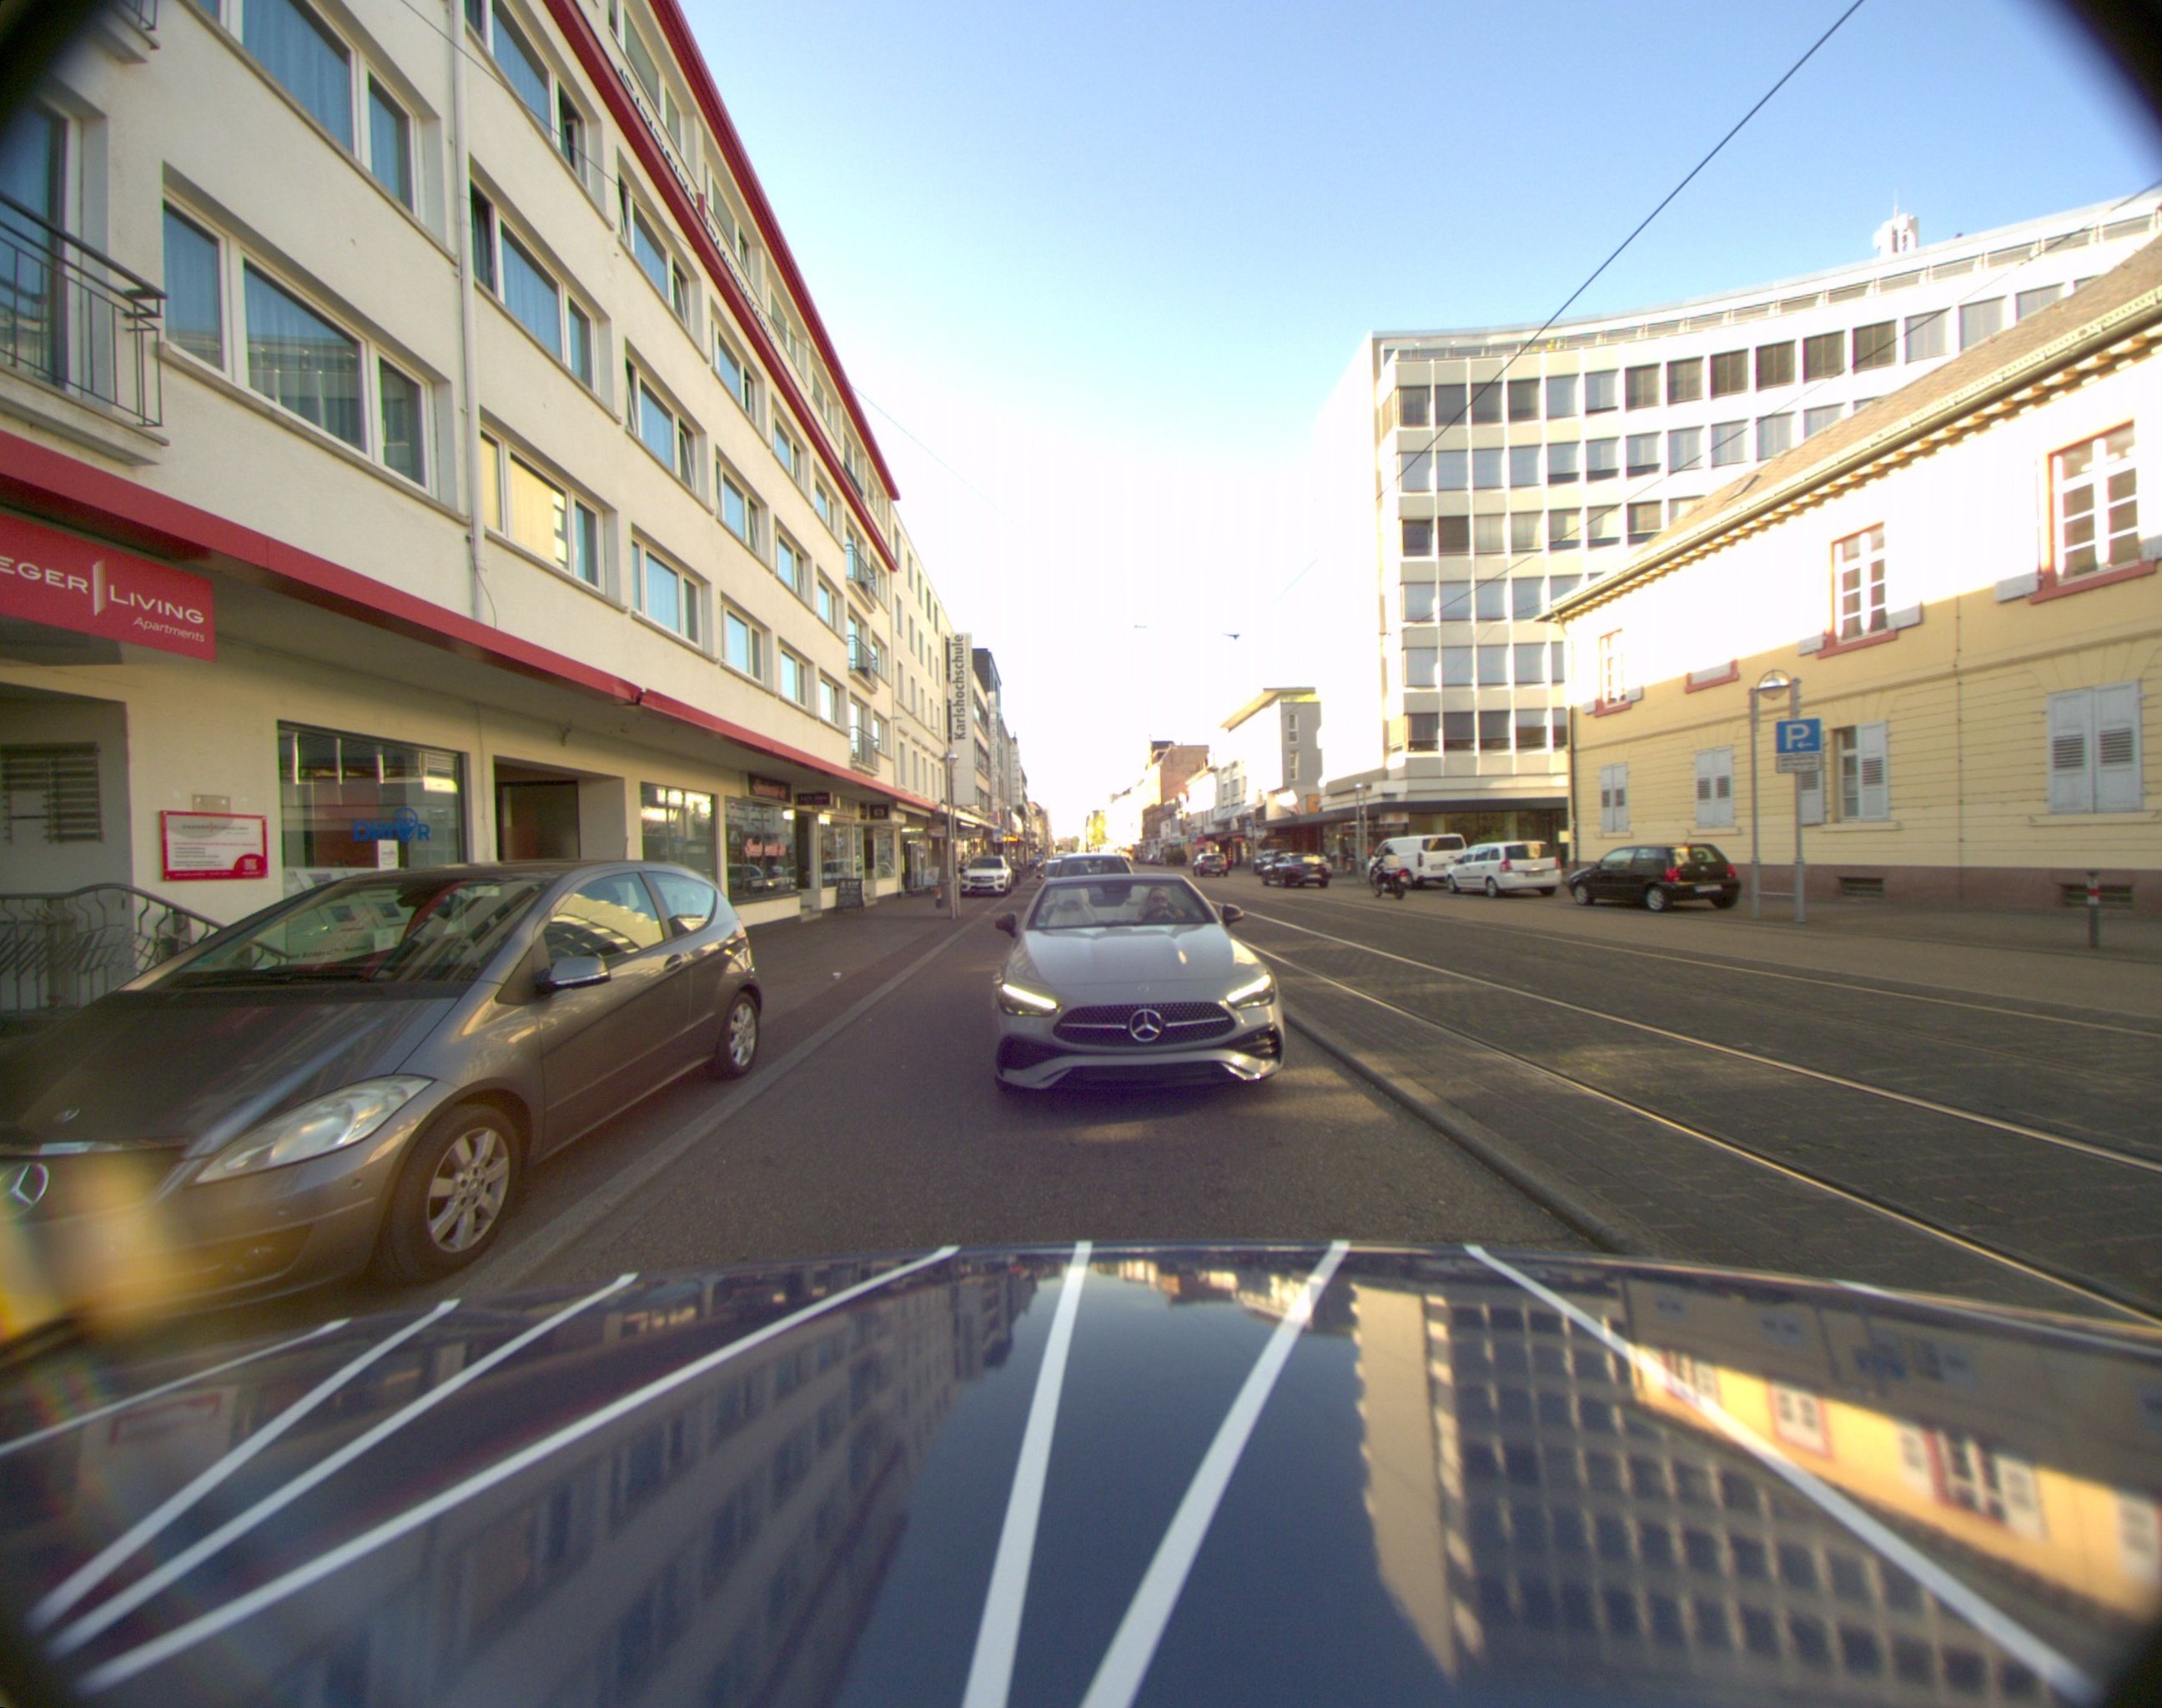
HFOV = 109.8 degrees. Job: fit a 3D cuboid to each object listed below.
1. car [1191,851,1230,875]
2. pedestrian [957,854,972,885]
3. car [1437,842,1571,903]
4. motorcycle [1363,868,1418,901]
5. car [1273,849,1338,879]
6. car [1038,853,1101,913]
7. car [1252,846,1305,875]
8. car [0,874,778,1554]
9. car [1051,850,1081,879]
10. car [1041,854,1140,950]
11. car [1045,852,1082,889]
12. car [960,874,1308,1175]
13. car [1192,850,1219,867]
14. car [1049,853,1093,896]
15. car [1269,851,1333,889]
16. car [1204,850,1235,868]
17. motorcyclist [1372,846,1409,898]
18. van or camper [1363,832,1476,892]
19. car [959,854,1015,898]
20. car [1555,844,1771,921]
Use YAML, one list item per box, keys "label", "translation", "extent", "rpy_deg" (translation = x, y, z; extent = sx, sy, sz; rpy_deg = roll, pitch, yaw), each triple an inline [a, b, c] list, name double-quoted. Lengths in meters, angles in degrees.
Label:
- label: "car"
  translation: [8.393, 0.544, 49.489]
  extent: [1.781, 1.500, 3.859]
  rpy_deg: [-1, 0, -1]
- label: "pedestrian"
  translation: [-6.894, 0.913, 44.878]
  extent: [0.706, 1.807, 0.807]
  rpy_deg: [-2, 1, -3]
- label: "car"
  translation: [12.731, 0.484, 23.200]
  extent: [1.781, 1.611, 4.175]
  rpy_deg: [-3, 1, 2]
- label: "motorcycle"
  translation: [9.584, 0.926, 23.596]
  extent: [0.601, 0.921, 2.154]
  rpy_deg: [-2, 1, -6]
- label: "car"
  translation: [12.396, 0.508, 42.245]
  extent: [1.931, 1.444, 4.291]
  rpy_deg: [-4, 1, -5]
- label: "car"
  translation: [-0.326, 0.832, 23.652]
  extent: [1.783, 1.654, 3.960]
  rpy_deg: [0, 1, 0]
- label: "car"
  translation: [12.313, 0.387, 47.690]
  extent: [1.931, 1.632, 4.280]
  rpy_deg: [-4, 1, -3]
- label: "car"
  translation: [-3.225, 0.962, 3.867]
  extent: [1.781, 1.560, 3.960]
  rpy_deg: [0, 1, 0]
- label: "car"
  translation: [-0.864, 0.581, 46.039]
  extent: [1.737, 1.654, 3.960]
  rpy_deg: [0, 1, 0]
- label: "car"
  translation: [0.163, 0.849, 15.428]
  extent: [1.737, 1.654, 3.960]
  rpy_deg: [0, 1, 0]
- label: "car"
  translation: [-0.822, 0.770, 37.319]
  extent: [1.737, 1.654, 3.781]
  rpy_deg: [0, 1, 0]
- label: "car"
  translation: [0.279, 0.984, 6.481]
  extent: [1.869, 1.431, 4.773]
  rpy_deg: [0, 1, 0]
- label: "car"
  translation: [11.754, 0.392, 71.812]
  extent: [1.786, 1.511, 3.832]
  rpy_deg: [-2, 1, -1]
- label: "car"
  translation: [-0.420, 0.822, 32.035]
  extent: [1.737, 1.654, 3.960]
  rpy_deg: [0, 1, 0]
- label: "car"
  translation: [9.431, 0.638, 32.944]
  extent: [1.780, 1.500, 4.671]
  rpy_deg: [-1, 0, 5]
- label: "car"
  translation: [11.950, 0.387, 65.686]
  extent: [1.786, 1.408, 3.596]
  rpy_deg: [-2, 1, -2]
- label: "motorcyclist"
  translation: [9.565, 0.550, 23.508]
  extent: [0.654, 1.549, 0.884]
  rpy_deg: [-2, 1, -7]
- label: "van or camper"
  translation: [12.691, 0.247, 28.893]
  extent: [1.960, 1.962, 4.796]
  rpy_deg: [-3, 1, -2]
- label: "car"
  translation: [-3.812, 0.842, 31.373]
  extent: [1.783, 1.654, 4.162]
  rpy_deg: [0, 1, 0]
- label: "car"
  translation: [12.857, 0.539, 17.155]
  extent: [1.781, 1.431, 3.960]
  rpy_deg: [-3, 1, 0]
